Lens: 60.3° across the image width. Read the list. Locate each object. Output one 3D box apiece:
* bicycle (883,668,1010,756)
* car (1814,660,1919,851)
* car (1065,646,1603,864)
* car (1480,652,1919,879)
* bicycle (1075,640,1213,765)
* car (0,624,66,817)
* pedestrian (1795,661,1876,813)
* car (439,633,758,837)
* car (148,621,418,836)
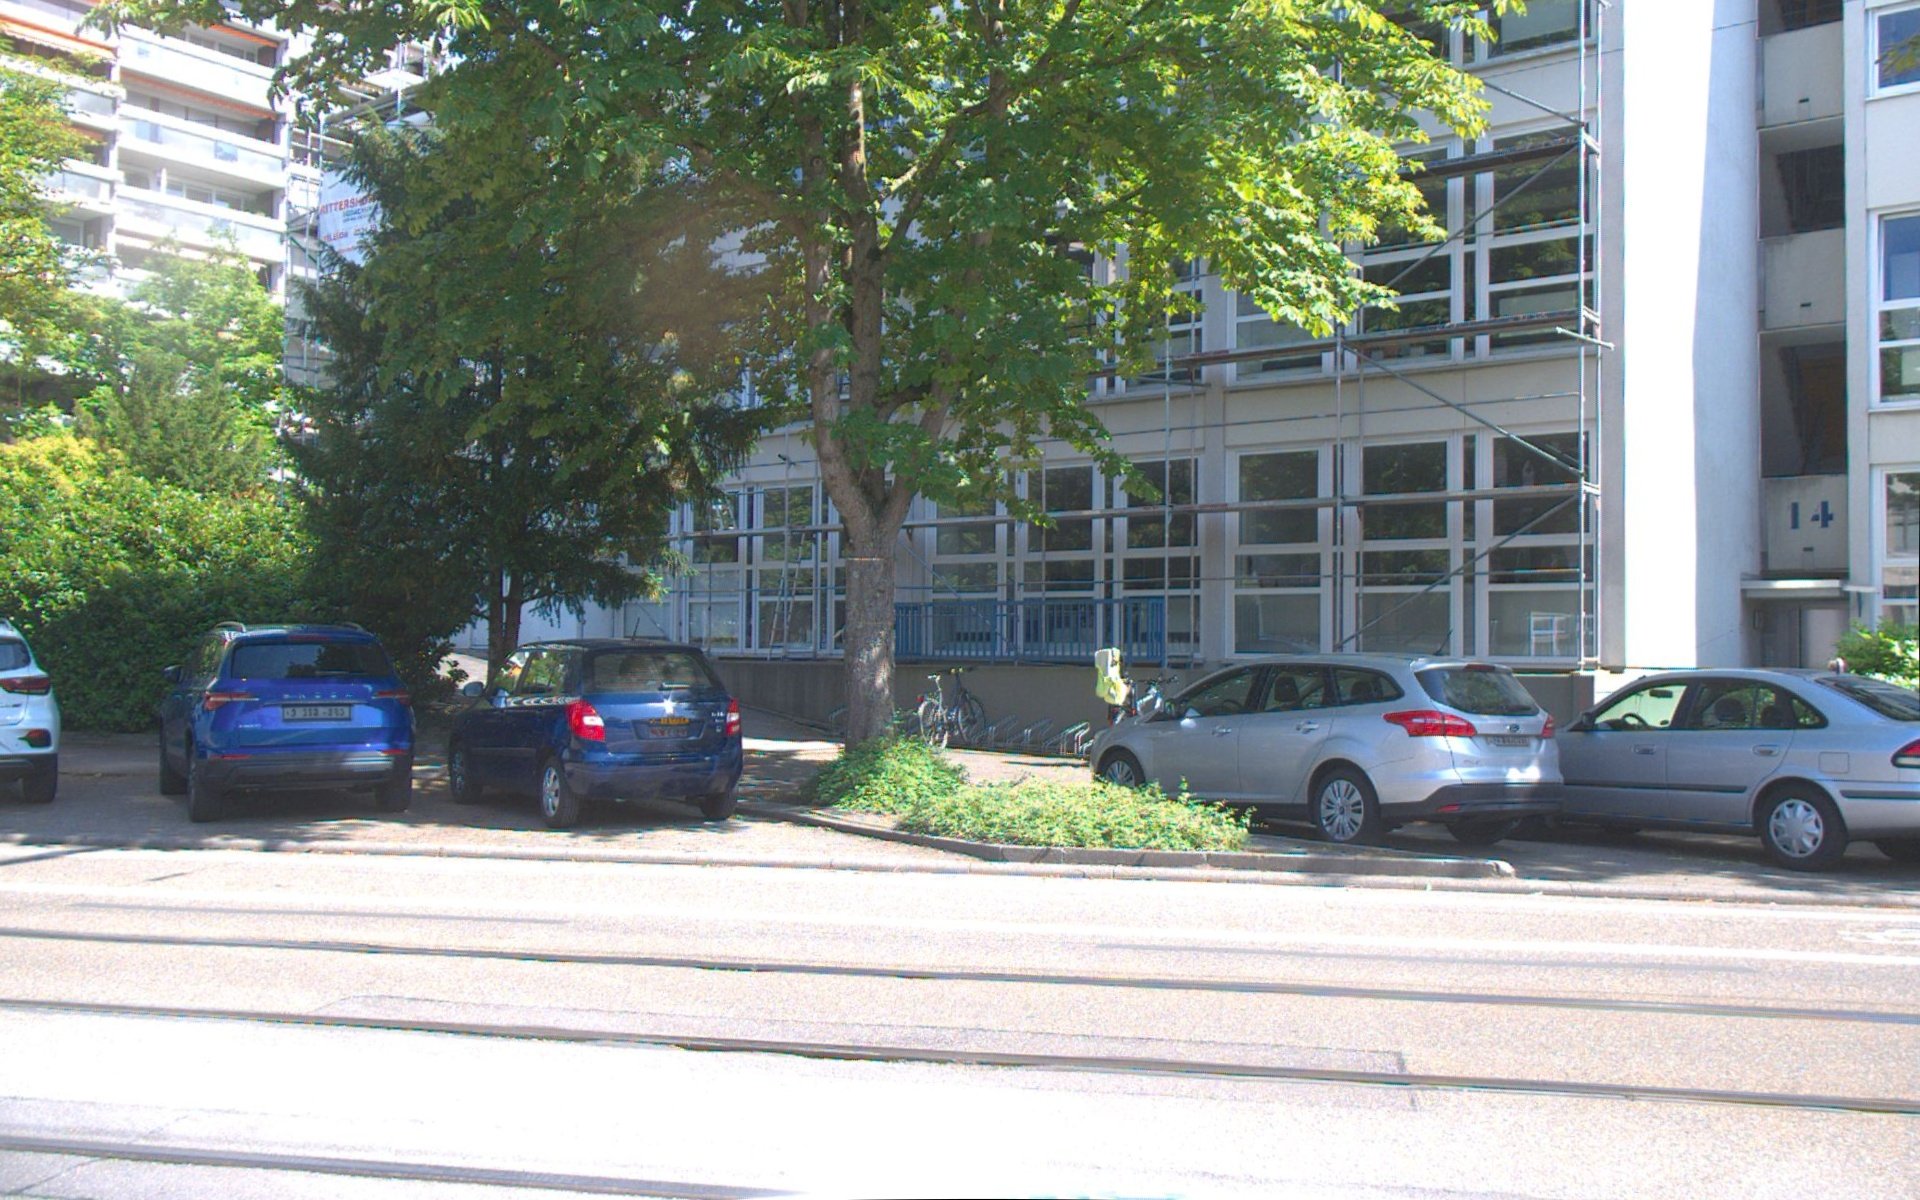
[{"bbox_3d":[-0.149,1.457,21.975,0.727,1.105,2.199,-1,-2,28],"label":"bicycle"},{"bbox_3d":[8.893,1.202,12.668,1.593,1.512,3.898,2,-4,-33],"label":"car"},{"bbox_3d":[2.910,1.158,13.812,1.763,1.512,4.381,2,-3,-35],"label":"car"},{"bbox_3d":[6.156,1.172,12.926,1.593,1.512,3.900,2,-3,-33],"label":"car"},{"bbox_3d":[2.316,1.247,20.592,0.651,1.479,2.078,-2,-3,41],"label":"bicycle"},{"bbox_3d":[-9.674,1.087,15.433,1.800,1.634,3.893,-1,-1,-37],"label":"car"},{"bbox_3d":[8.707,1.350,16.466,0.607,1.486,0.424,0,-2,14],"label":"pedestrian"},{"bbox_3d":[-3.263,1.102,14.526,1.558,1.558,3.415,2,-3,-35],"label":"car"},{"bbox_3d":[-6.252,1.031,15.039,1.756,1.651,3.905,1,-1,-30],"label":"car"}]
